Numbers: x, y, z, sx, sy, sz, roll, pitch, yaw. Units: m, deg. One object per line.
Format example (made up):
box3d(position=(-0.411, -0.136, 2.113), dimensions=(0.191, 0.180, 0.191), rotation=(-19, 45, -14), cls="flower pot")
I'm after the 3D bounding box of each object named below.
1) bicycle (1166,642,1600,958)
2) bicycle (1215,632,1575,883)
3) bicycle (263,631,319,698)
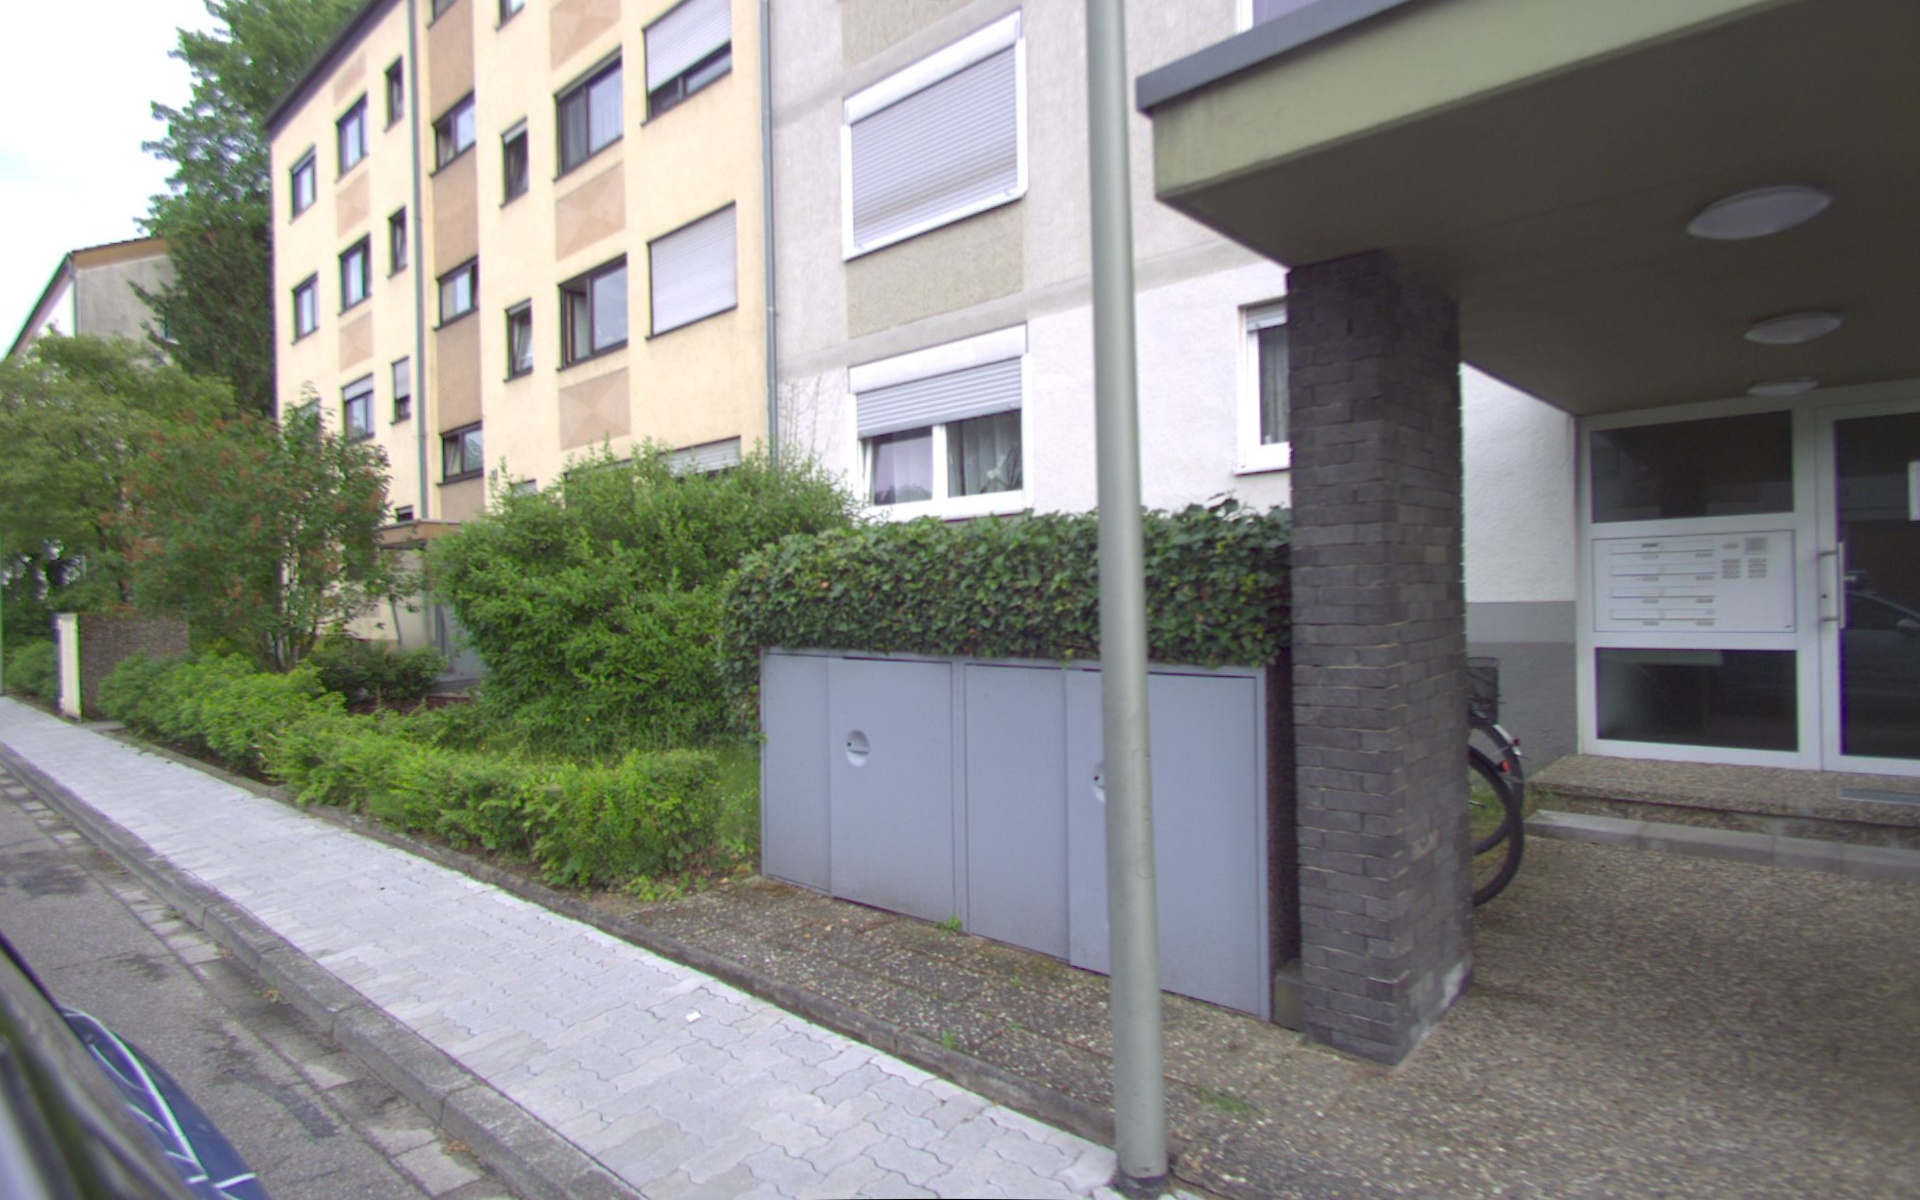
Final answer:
box3d(position=(1.658, 0.713, 4.144), dimensions=(1.546, 1.042, 0.449), rotation=(-2, 1, 43), cls="bicycle")
box3d(position=(2.057, 0.691, 4.945), dimensions=(1.546, 1.042, 0.369), rotation=(-2, 1, 43), cls="bicycle")
box3d(position=(-11.249, 1.091, 16.994), dimensions=(1.690, 1.059, 0.311), rotation=(-4, -3, 40), cls="bicycle")
